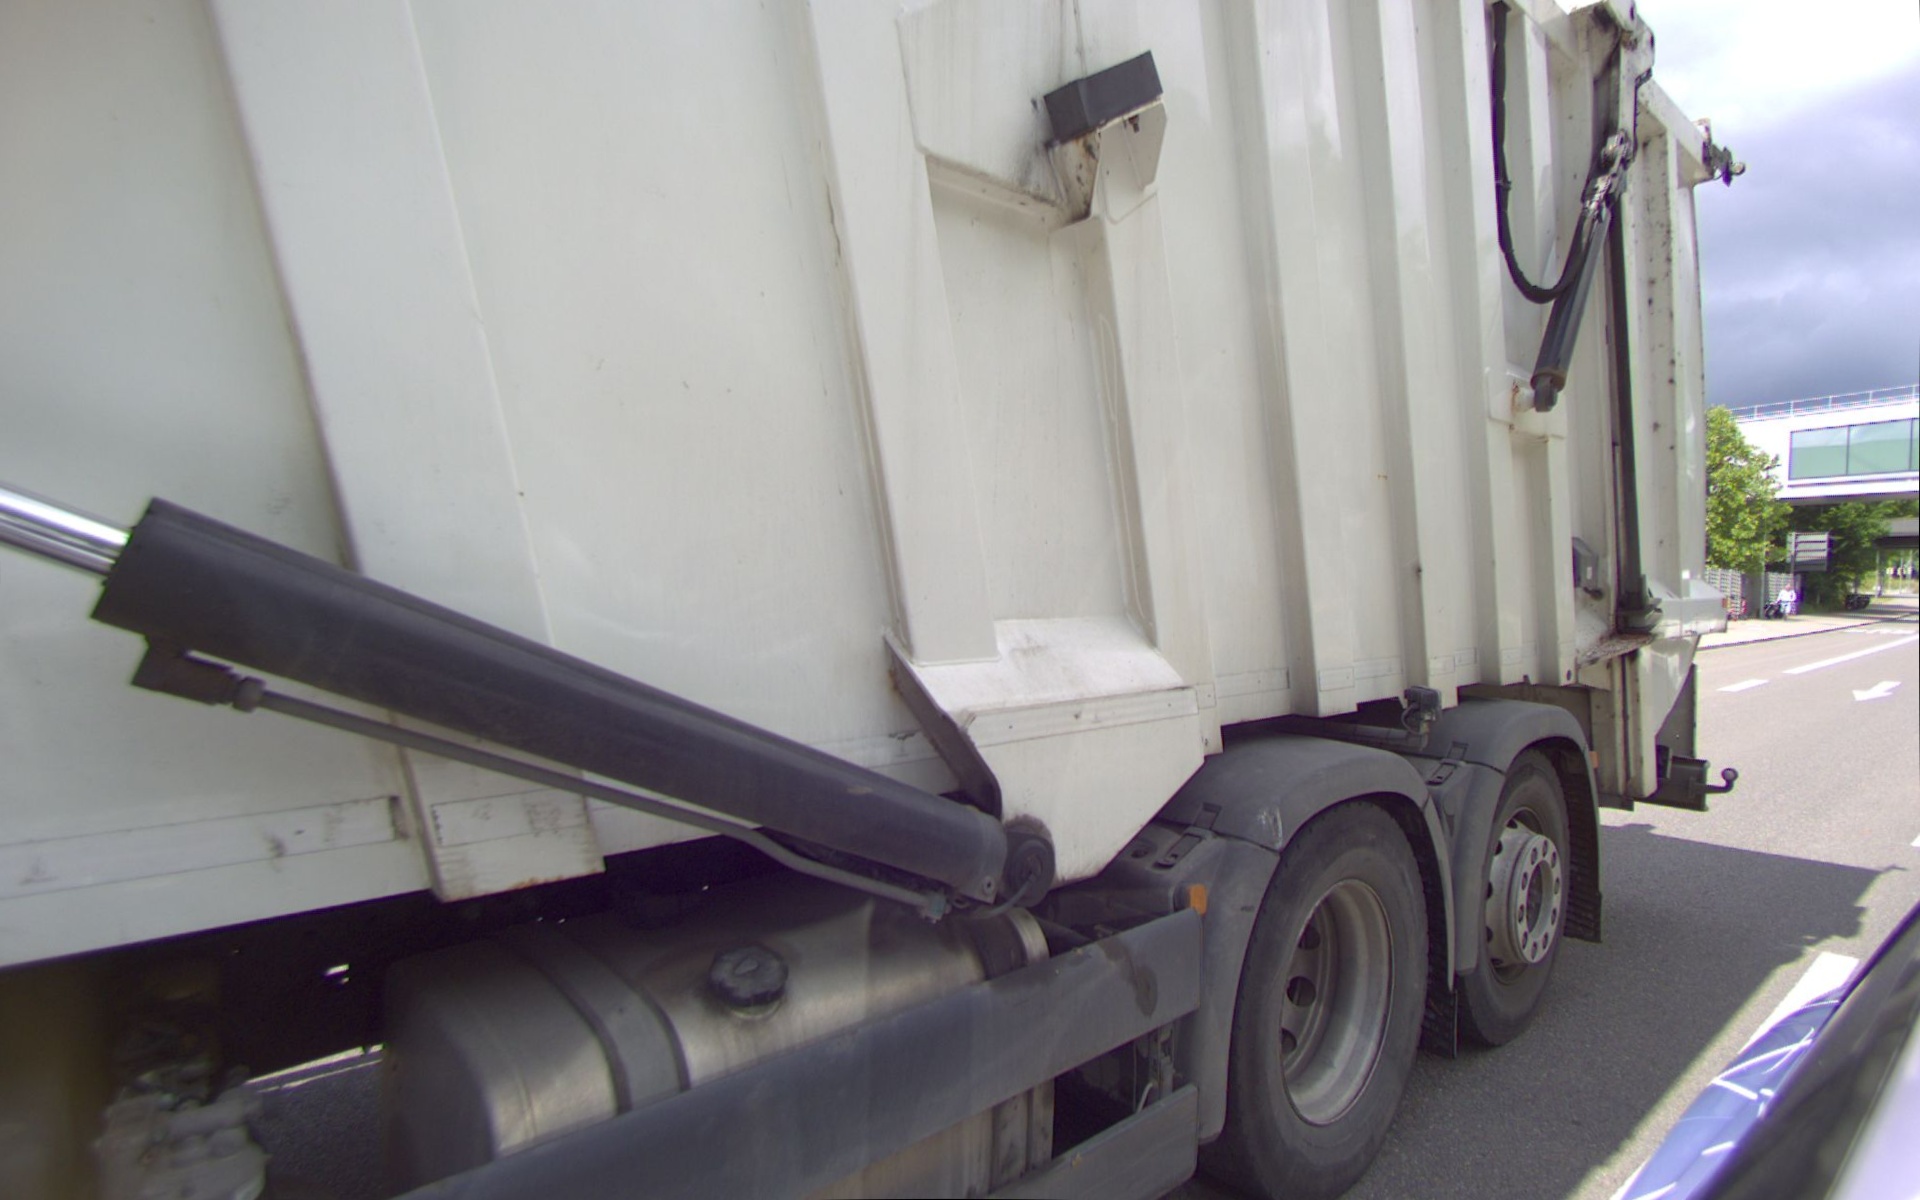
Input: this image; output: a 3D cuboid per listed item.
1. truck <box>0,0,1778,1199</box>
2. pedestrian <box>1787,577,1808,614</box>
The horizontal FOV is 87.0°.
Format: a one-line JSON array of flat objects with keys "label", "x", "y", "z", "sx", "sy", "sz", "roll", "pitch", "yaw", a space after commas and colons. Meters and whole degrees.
[{"label": "truck", "x": -0.121, "y": -0.660, "z": 3.062, "sx": 9.999, "sy": 3.962, "sz": 2.492, "roll": -1, "pitch": 0, "yaw": -42}, {"label": "pedestrian", "x": 43.412, "y": -0.233, "z": 52.450, "sx": 0.647, "sy": 1.936, "sz": 0.738, "roll": 0, "pitch": 0, "yaw": -42}]
